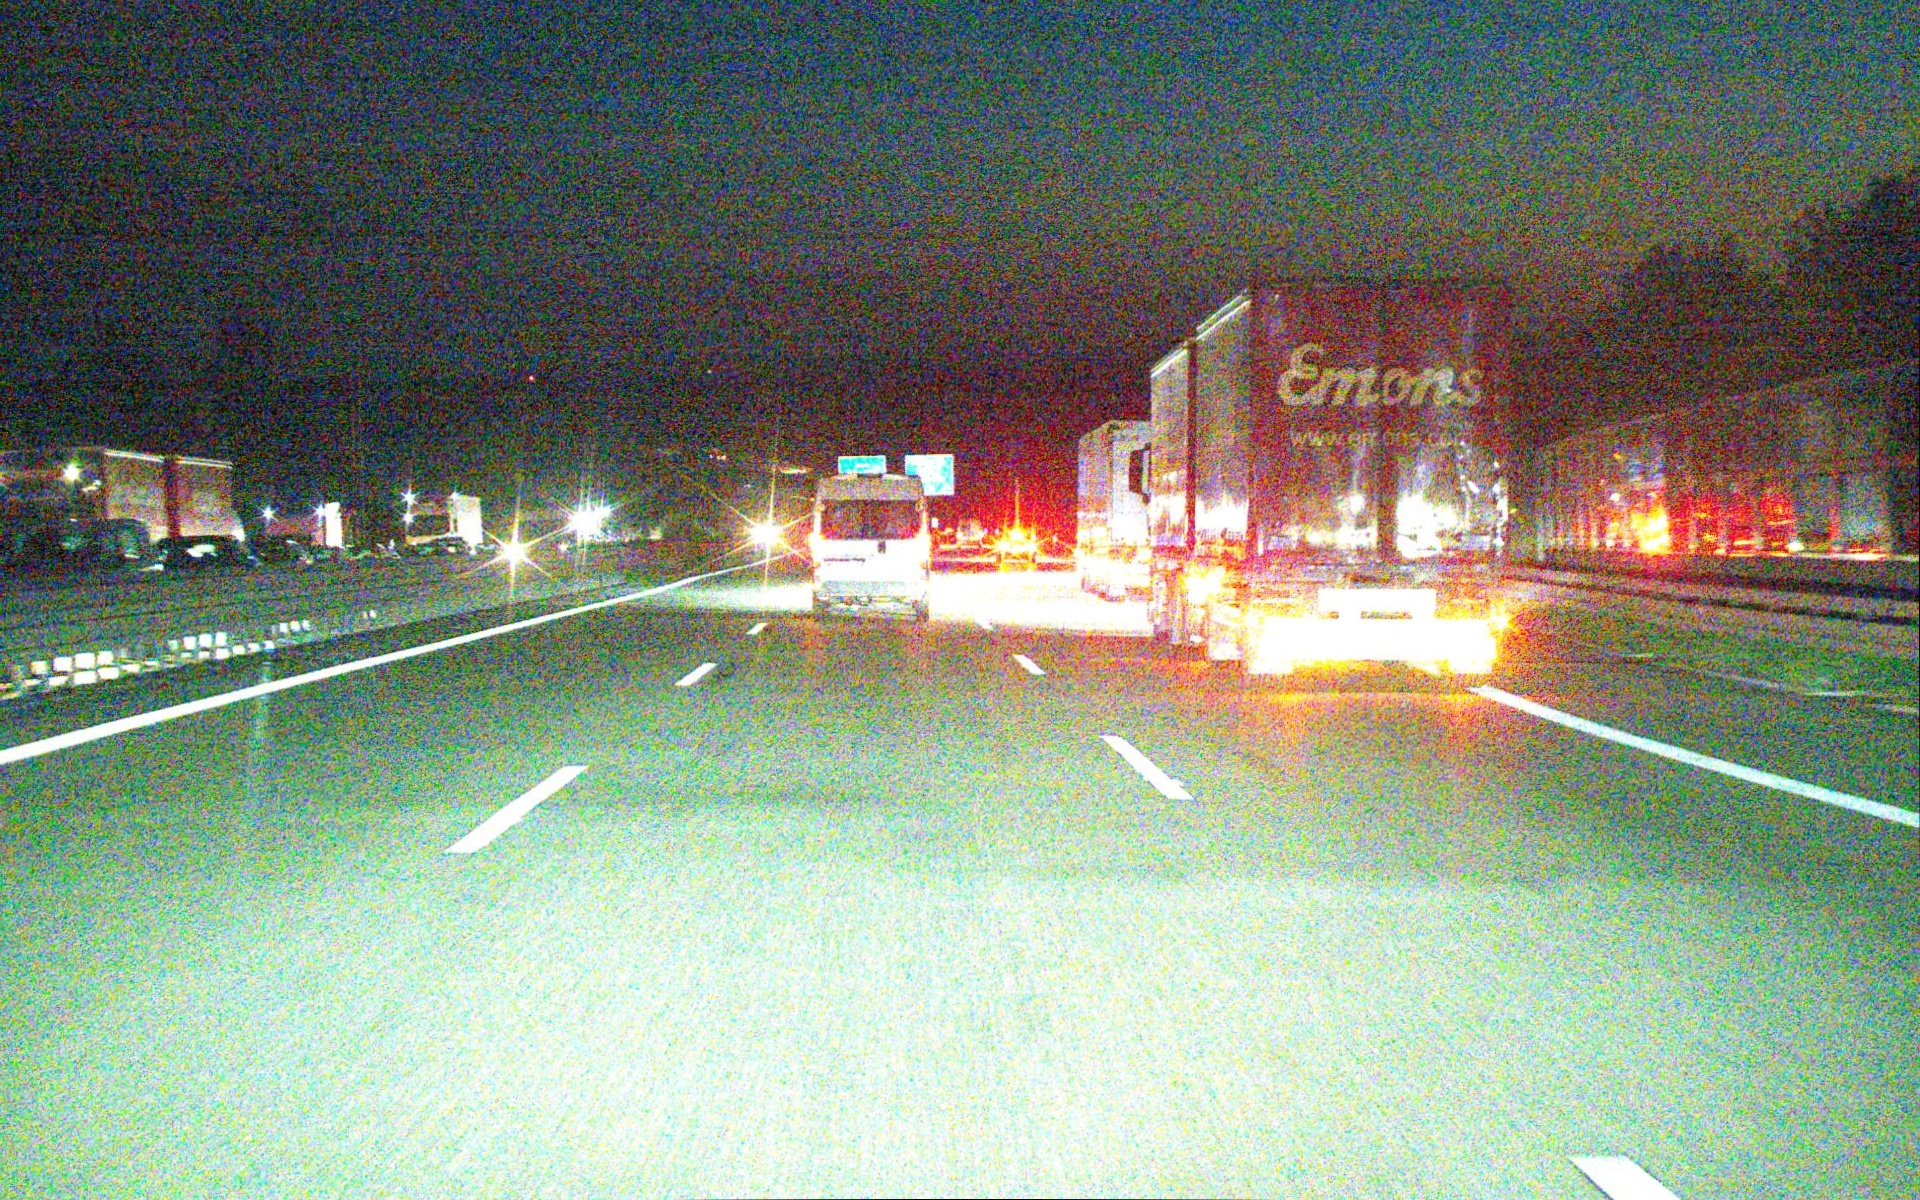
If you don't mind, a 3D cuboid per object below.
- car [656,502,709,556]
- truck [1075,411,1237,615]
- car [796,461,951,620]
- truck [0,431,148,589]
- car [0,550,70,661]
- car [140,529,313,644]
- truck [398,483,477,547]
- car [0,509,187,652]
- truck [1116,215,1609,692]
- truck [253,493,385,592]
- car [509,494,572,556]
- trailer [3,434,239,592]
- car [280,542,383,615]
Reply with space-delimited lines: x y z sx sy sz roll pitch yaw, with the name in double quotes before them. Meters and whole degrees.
"car" -10.976 -2.783 135.896 1.993 2.007 4.001 1 0 -5
"truck" 4.509 -2.048 82.009 3.344 4.460 13.910 0 1 1
"car" -1.468 -0.993 60.615 2.337 2.631 5.247 -1 0 2
"truck" -22.068 -2.126 84.266 2.859 3.674 6.603 1 0 -1
"car" -18.021 0.088 64.353 1.993 2.007 4.001 1 0 -5
"car" -13.368 -0.235 62.960 1.993 2.007 5.325 1 0 0
"truck" -27.831 -4.505 183.430 3.169 3.211 7.448 1 0 -1
"car" -13.137 -0.282 51.267 1.993 2.007 5.324 1 0 0
"truck" 4.380 -1.637 43.903 3.915 4.611 21.019 0 1 0
"truck" -26.444 -2.267 142.683 2.885 3.836 15.069 1 0 -1
"car" -14.330 -2.557 117.687 1.993 2.007 4.001 1 0 -5
"trailer" -22.264 -2.158 92.310 2.885 3.836 15.069 1 0 -1
"car" -17.983 -0.608 98.544 1.993 2.007 5.325 1 0 0
